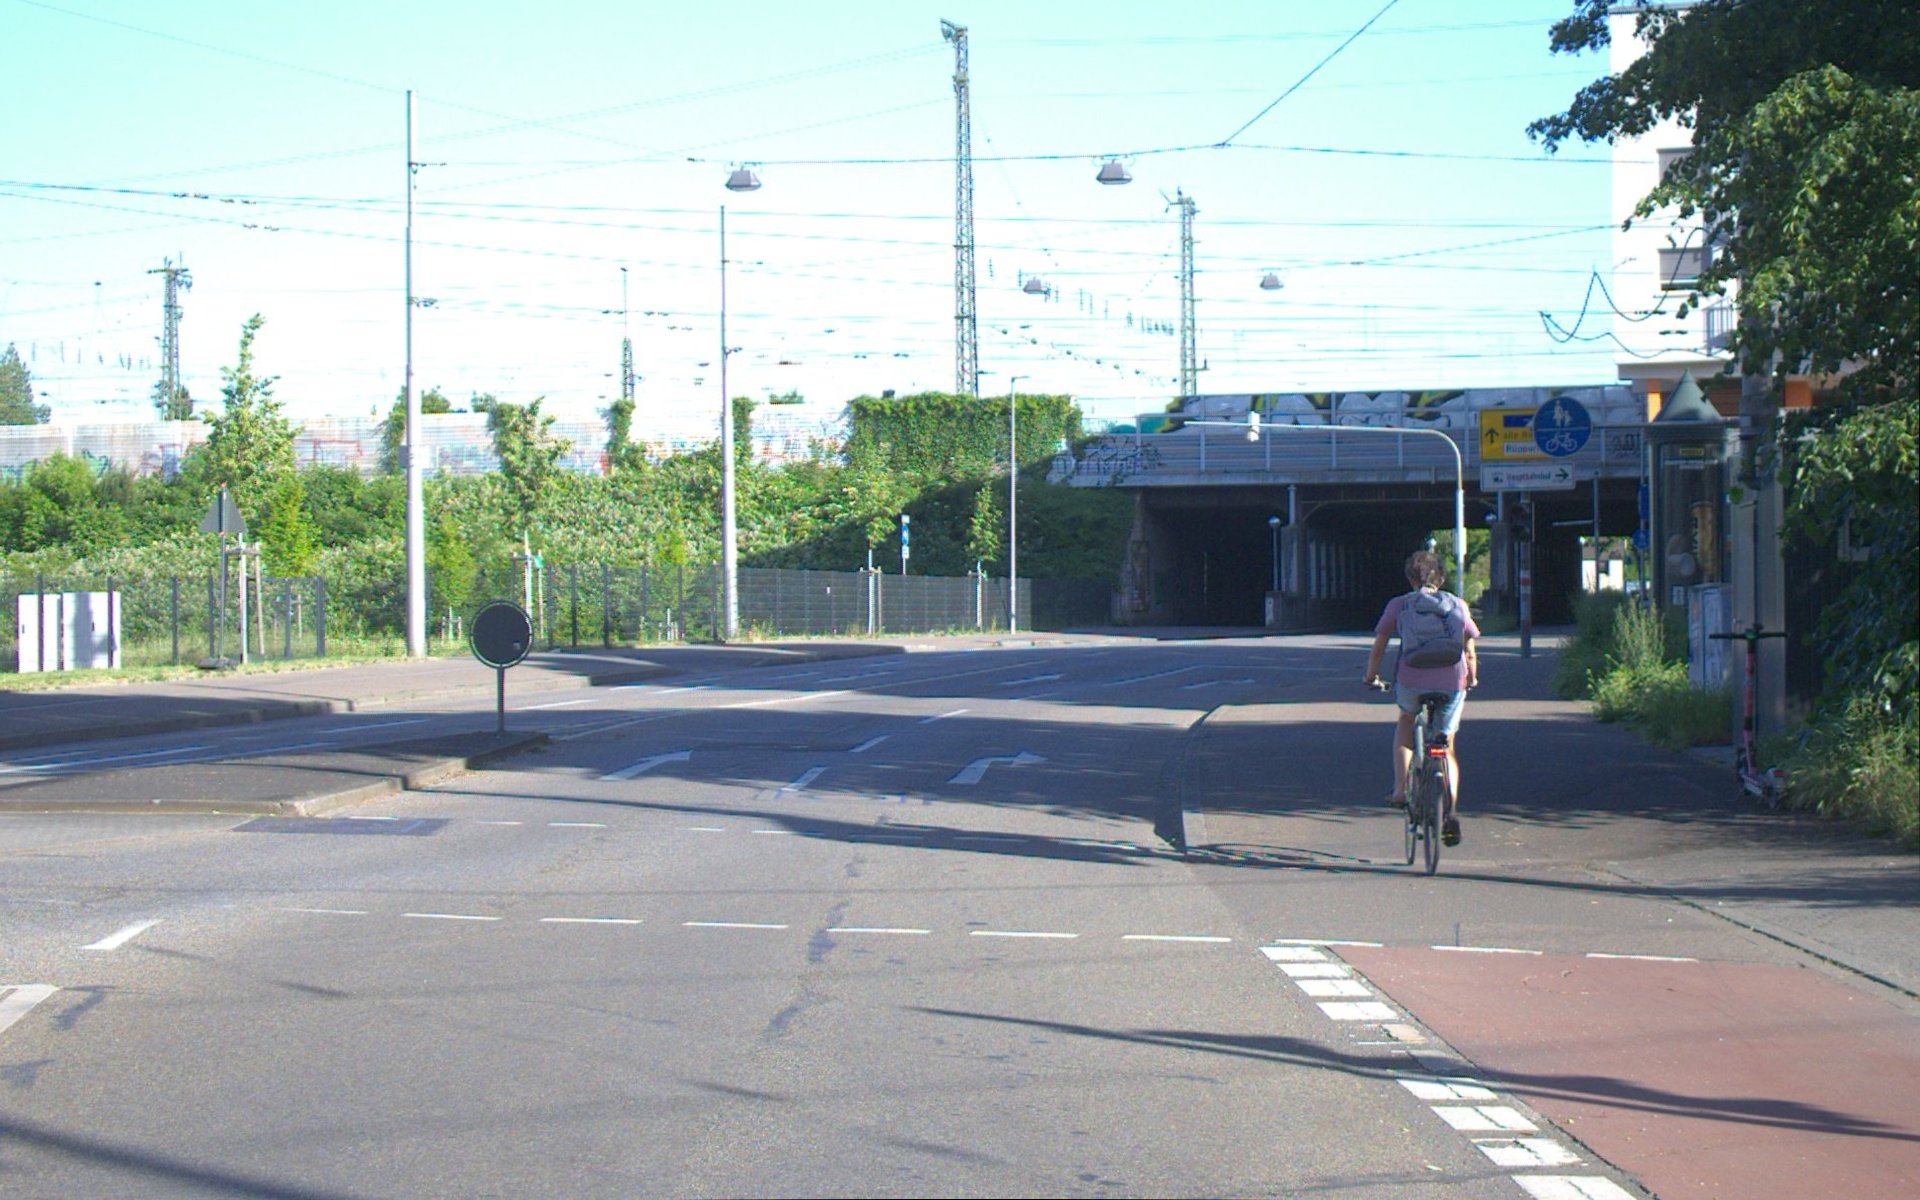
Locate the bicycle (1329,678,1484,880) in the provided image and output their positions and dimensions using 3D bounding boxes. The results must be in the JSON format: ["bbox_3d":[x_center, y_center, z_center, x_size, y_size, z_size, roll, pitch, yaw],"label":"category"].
[{"bbox_3d":[2.617,1.028,20.348,0.667,1.056,2.082,-1,1,1],"label":"bicycle"}]

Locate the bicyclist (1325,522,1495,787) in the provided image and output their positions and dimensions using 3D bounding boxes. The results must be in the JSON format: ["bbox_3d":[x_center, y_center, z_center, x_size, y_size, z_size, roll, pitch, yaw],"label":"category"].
[{"bbox_3d":[2.650,0.305,20.361,0.840,1.505,1.369,-1,1,1],"label":"bicyclist"}]
